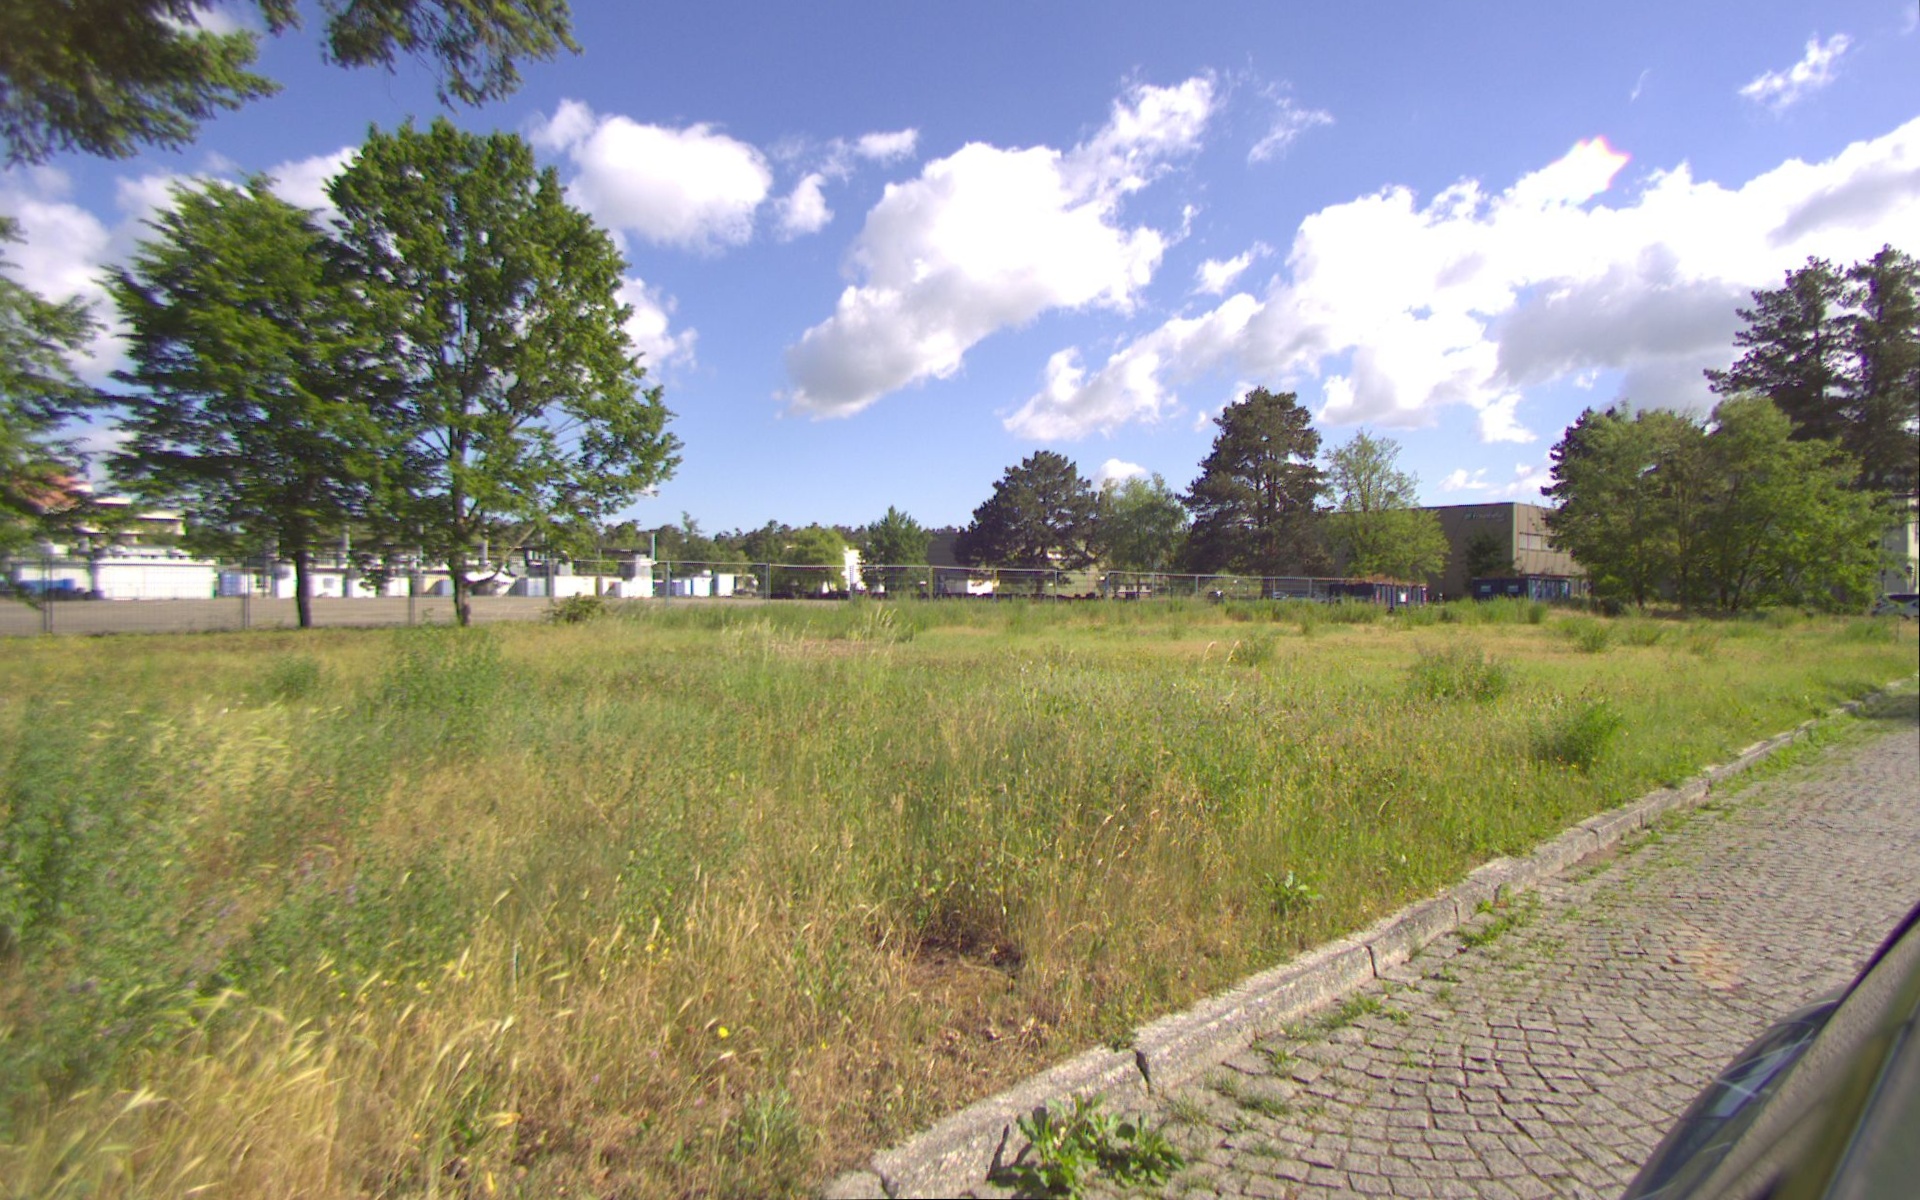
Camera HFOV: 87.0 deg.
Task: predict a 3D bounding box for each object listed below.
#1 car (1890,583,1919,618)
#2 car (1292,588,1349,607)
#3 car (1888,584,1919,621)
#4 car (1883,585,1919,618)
[{"bbox_3d":[42.651,0.125,43.312,1.813,1.458,4.011,0,3,-42],"label":"car"},{"bbox_3d":[29.202,-0.195,81.994,1.715,1.440,3.993,2,-1,-41],"label":"car"},{"bbox_3d":[40.688,0.172,41.457,1.722,1.494,3.747,0,4,-42],"label":"car"},{"bbox_3d":[46.148,0.124,47.131,1.808,1.482,4.518,-1,3,-43],"label":"car"}]
